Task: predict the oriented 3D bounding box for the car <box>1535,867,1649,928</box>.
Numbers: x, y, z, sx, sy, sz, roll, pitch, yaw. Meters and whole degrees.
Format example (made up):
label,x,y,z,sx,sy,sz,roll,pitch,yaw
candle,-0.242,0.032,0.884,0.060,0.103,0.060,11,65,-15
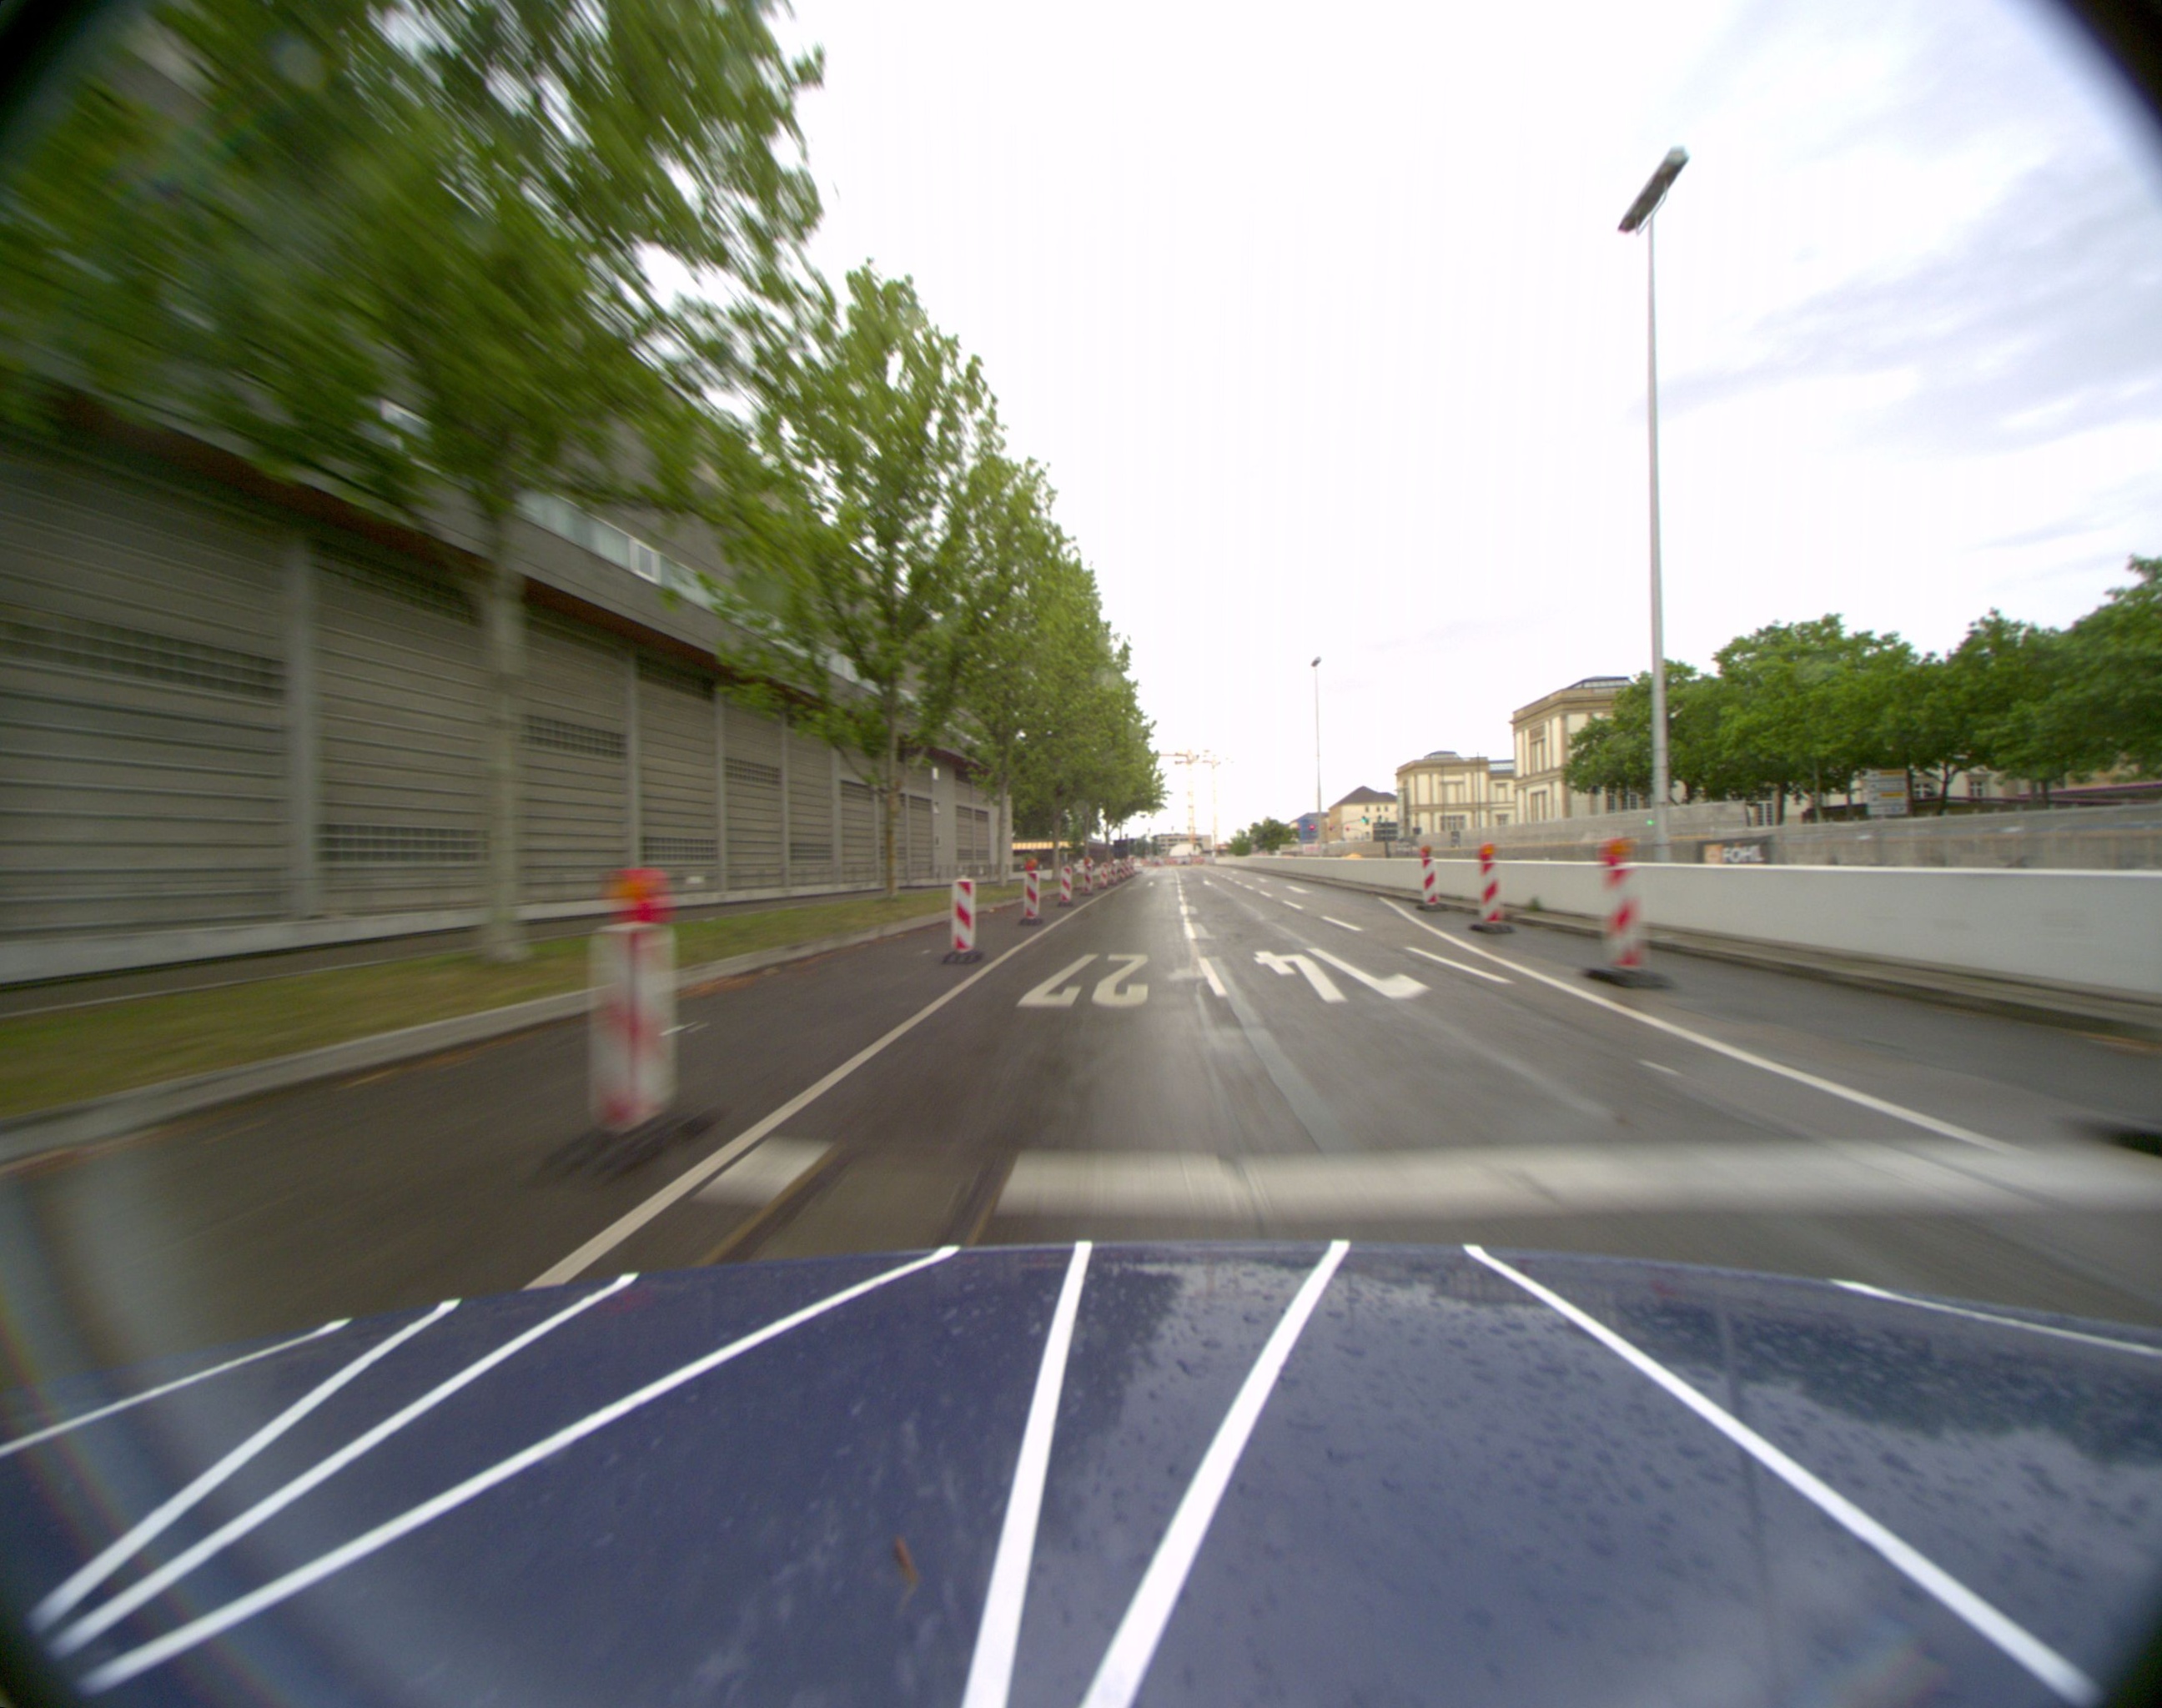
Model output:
label,x,y,z,sx,sy,sz,roll,pitch,yaw
car,18.895,1.545,28.312,1.902,2.002,4.002,-1,1,7
